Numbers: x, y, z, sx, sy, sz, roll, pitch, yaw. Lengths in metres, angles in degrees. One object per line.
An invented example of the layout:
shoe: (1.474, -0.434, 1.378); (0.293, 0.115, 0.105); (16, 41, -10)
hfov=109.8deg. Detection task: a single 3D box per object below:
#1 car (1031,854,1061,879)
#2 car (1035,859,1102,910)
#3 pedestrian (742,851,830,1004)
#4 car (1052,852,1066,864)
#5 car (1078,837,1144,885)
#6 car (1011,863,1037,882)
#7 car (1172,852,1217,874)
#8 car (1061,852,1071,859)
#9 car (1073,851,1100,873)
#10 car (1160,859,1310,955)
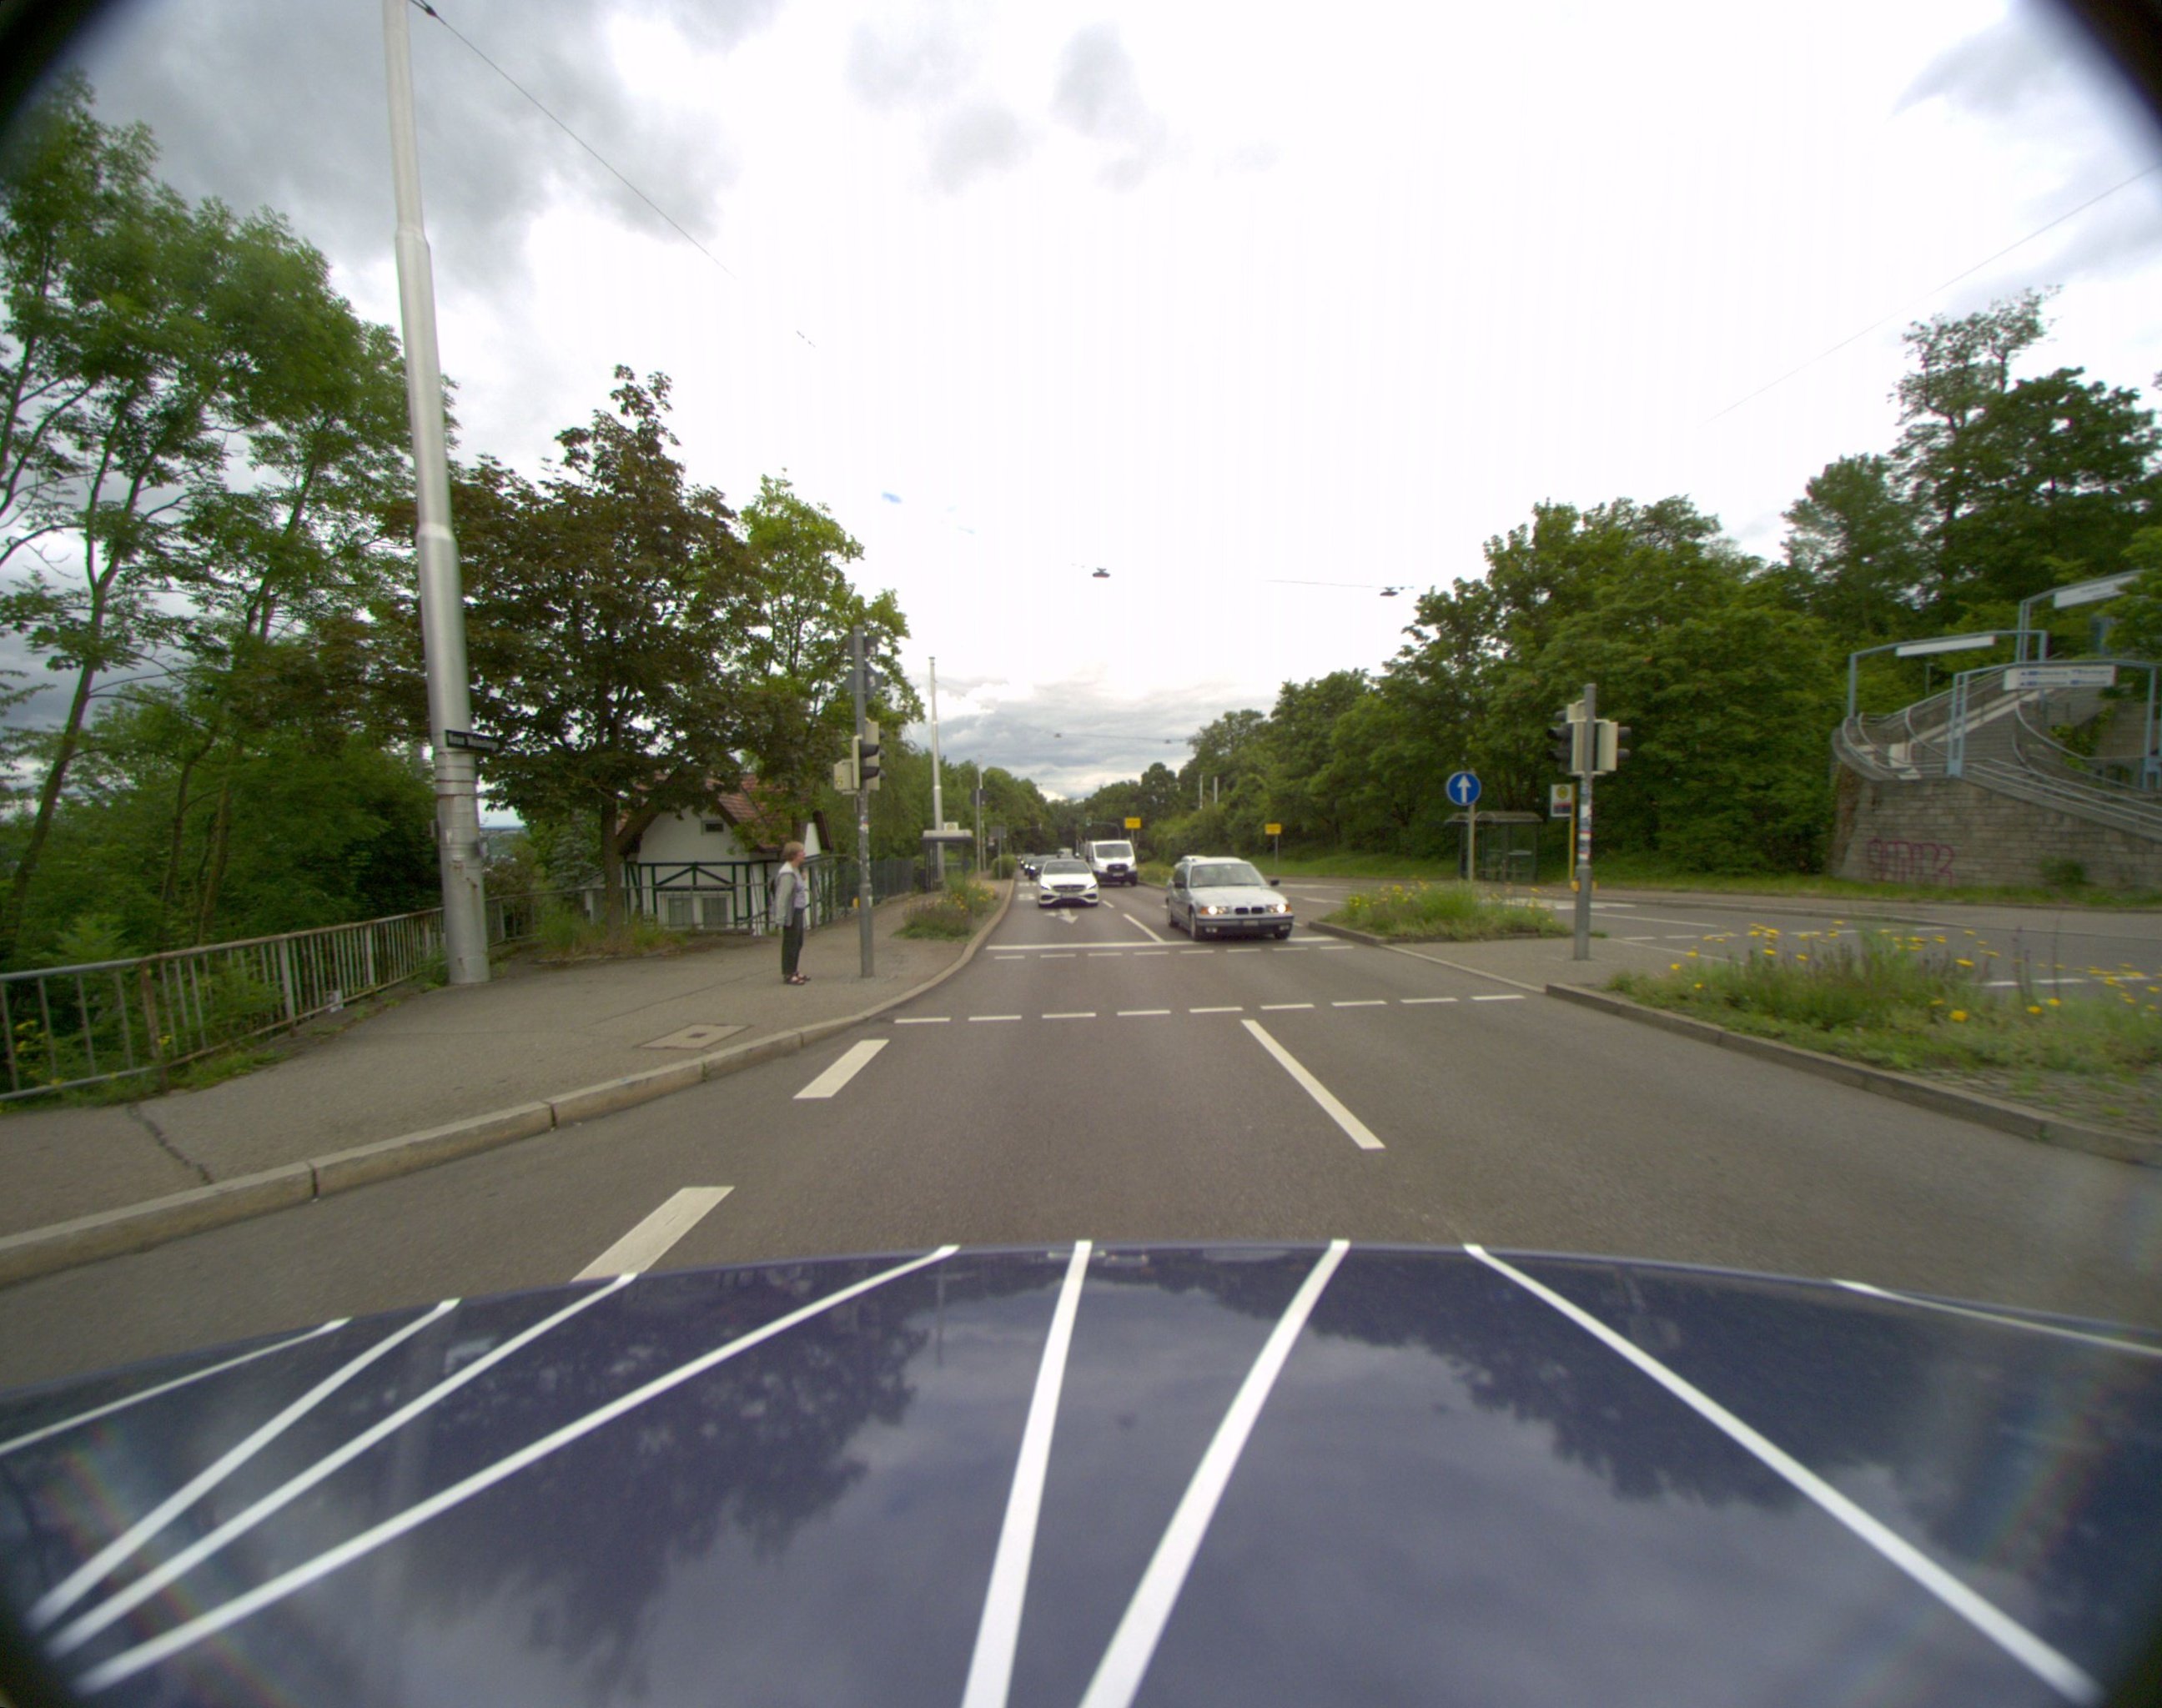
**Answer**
car: (-2.333, 0.769, 49.514); (1.678, 1.532, 4.612); (0, 0, -6)
car: (-0.488, 0.892, 23.880); (1.808, 1.385, 4.281); (0, 0, -5)
pedestrian: (-3.394, 0.810, 8.776); (0.694, 1.679, 0.621); (1, 2, 19)
car: (-2.885, 0.556, 100.136); (1.678, 1.532, 4.613); (0, 0, -4)
car: (1.328, 0.298, 37.253); (2.254, 2.113, 6.665); (-1, 0, -6)
car: (-4.730, 1.482, 62.346); (1.808, 1.385, 4.280); (-1, 0, -9)
car: (7.534, 0.598, 50.828); (1.723, 1.385, 4.605); (-1, 0, -8)
car: (-4.311, 0.446, 215.948); (1.761, 1.863, 4.620); (0, 0, 14)
car: (0.407, 0.575, 57.548); (1.678, 1.532, 4.551); (0, 0, -4)
car: (2.642, 0.848, 14.150); (1.757, 1.385, 4.614); (-2, 0, -1)
